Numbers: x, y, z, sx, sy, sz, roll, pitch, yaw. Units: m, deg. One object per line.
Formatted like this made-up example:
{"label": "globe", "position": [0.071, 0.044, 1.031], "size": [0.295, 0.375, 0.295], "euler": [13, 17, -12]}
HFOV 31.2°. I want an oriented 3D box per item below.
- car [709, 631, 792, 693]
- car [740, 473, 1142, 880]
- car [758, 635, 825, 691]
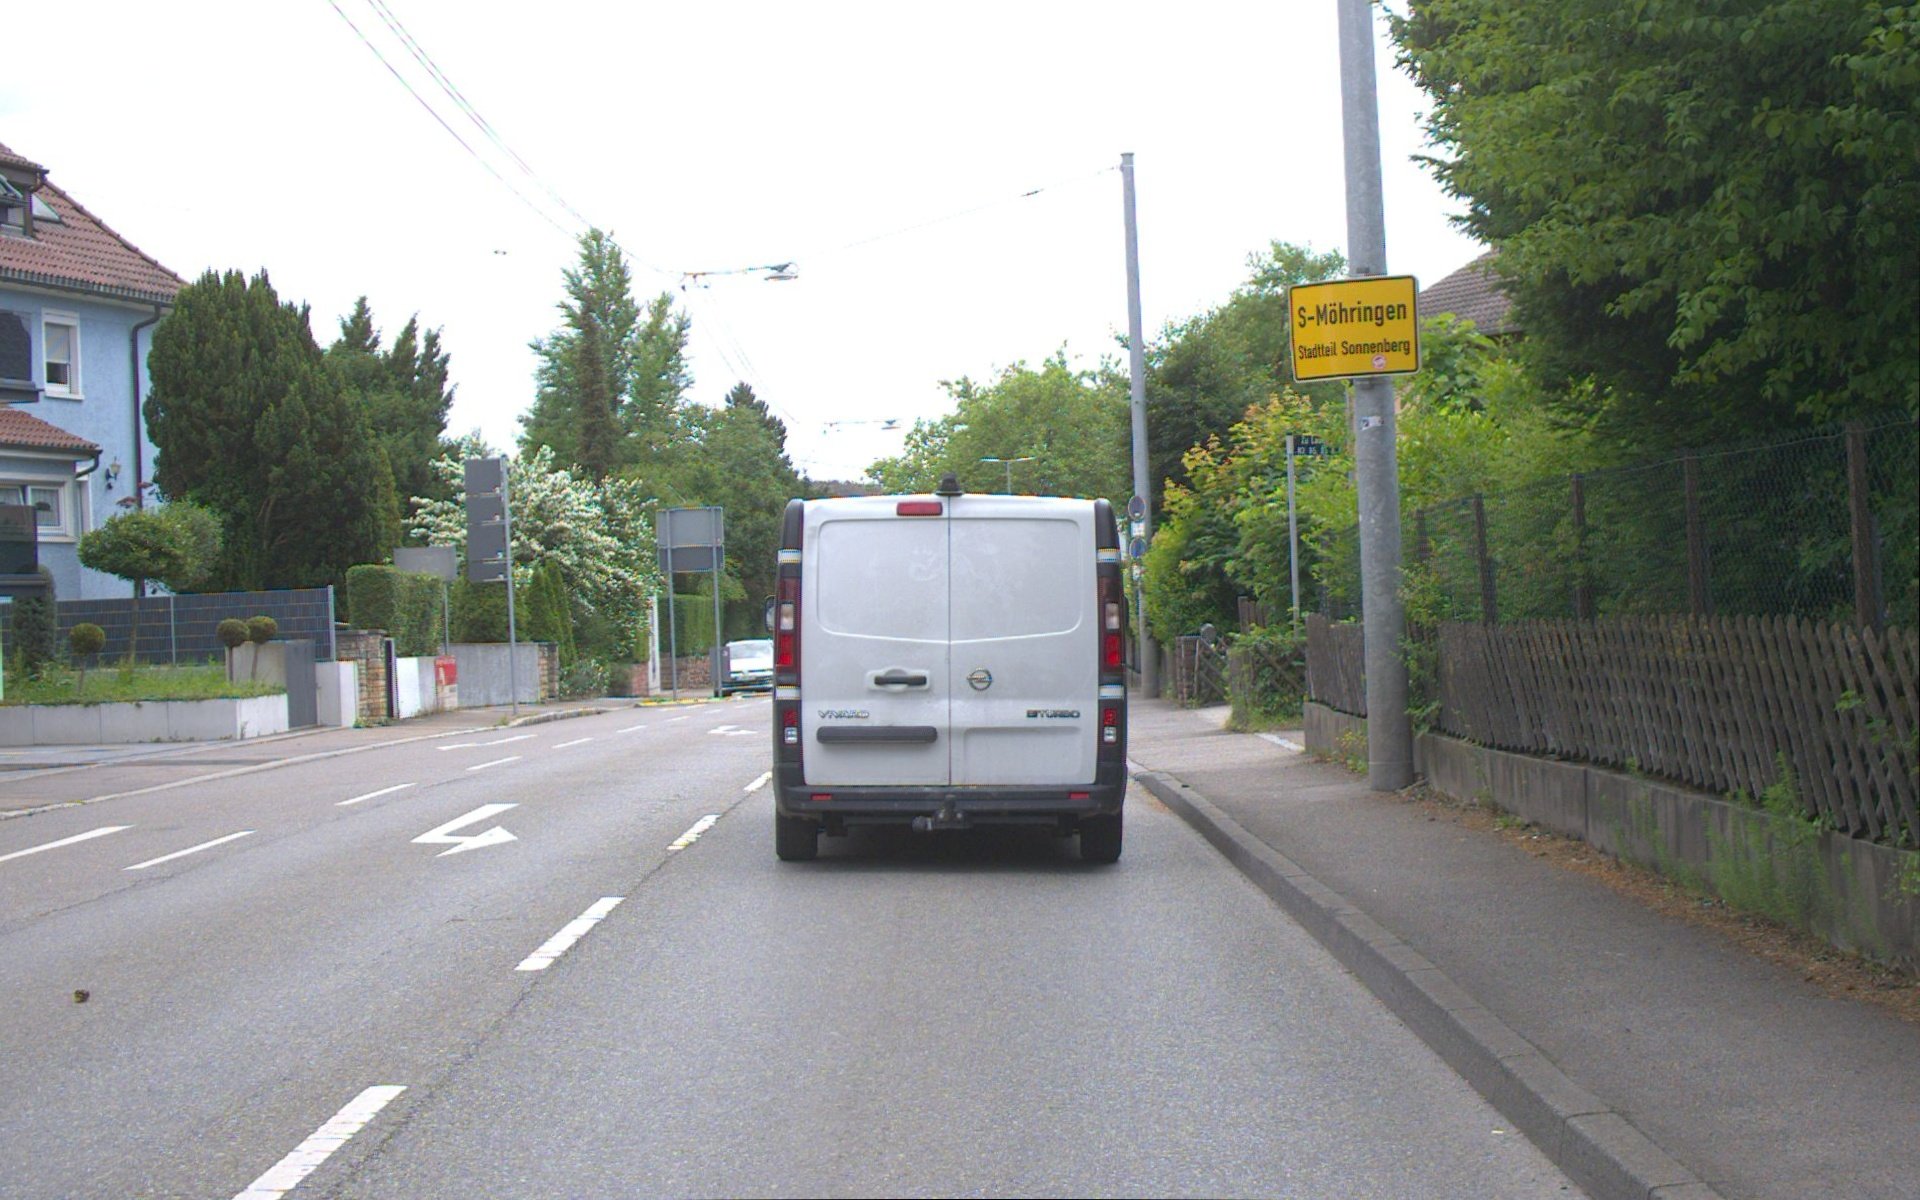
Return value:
{"label": "car", "position": [-5.400, 1.578, 88.940], "size": [1.809, 1.450, 4.413], "euler": [-4, 0, 0]}
{"label": "car", "position": [-0.094, 0.364, 19.791], "size": [2.006, 2.031, 5.010], "euler": [0, 0, 0]}
{"label": "car", "position": [-5.059, 1.896, 103.538], "size": [1.678, 1.551, 3.971], "euler": [-3, -1, 1]}
